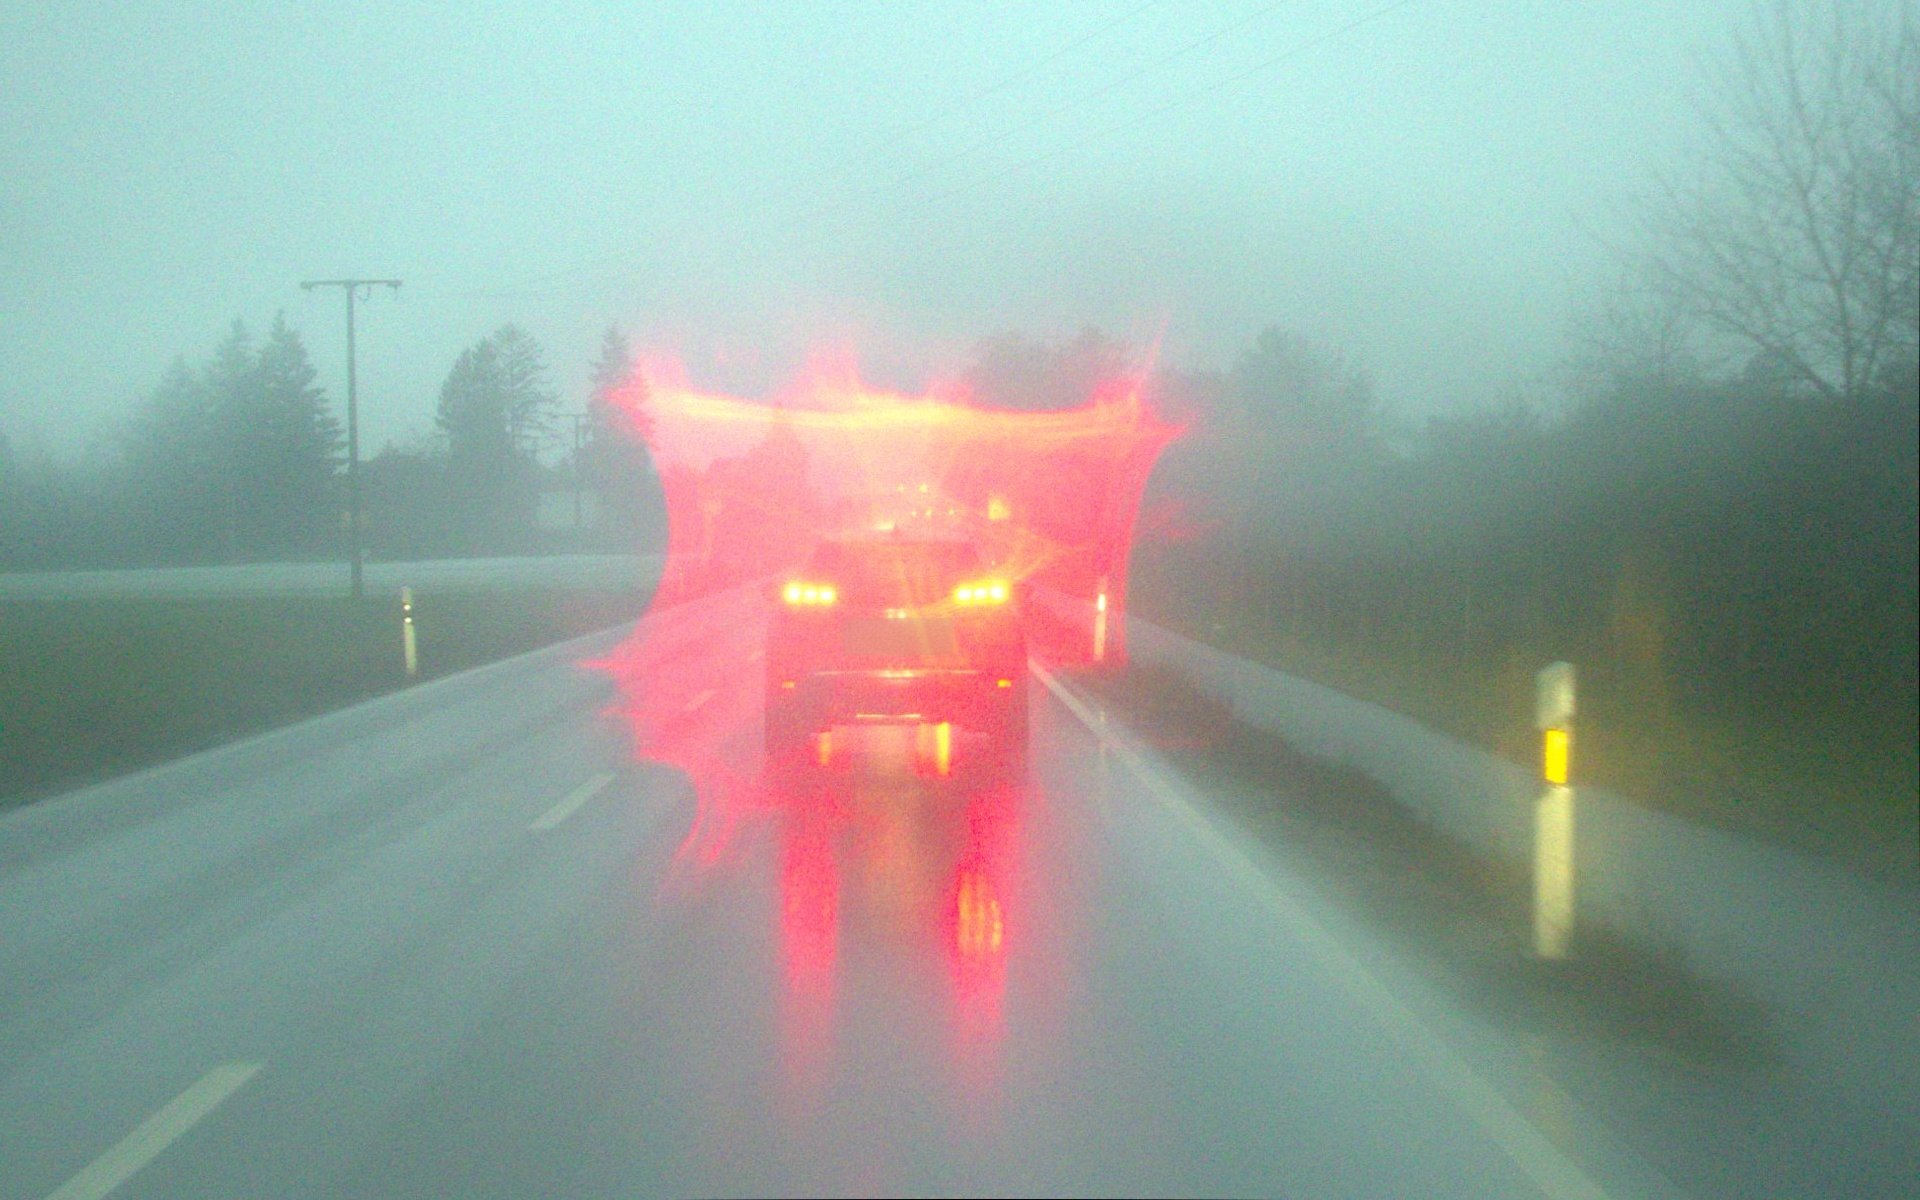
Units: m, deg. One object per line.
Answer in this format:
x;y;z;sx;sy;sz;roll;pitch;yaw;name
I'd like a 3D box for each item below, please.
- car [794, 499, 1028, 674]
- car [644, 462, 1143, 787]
-0.594;-0.242;44.206;2.756;2.028;6.591;-1;1;0;car
-0.441;0.076;25.490;3.164;2.028;6.852;-1;1;0;car
